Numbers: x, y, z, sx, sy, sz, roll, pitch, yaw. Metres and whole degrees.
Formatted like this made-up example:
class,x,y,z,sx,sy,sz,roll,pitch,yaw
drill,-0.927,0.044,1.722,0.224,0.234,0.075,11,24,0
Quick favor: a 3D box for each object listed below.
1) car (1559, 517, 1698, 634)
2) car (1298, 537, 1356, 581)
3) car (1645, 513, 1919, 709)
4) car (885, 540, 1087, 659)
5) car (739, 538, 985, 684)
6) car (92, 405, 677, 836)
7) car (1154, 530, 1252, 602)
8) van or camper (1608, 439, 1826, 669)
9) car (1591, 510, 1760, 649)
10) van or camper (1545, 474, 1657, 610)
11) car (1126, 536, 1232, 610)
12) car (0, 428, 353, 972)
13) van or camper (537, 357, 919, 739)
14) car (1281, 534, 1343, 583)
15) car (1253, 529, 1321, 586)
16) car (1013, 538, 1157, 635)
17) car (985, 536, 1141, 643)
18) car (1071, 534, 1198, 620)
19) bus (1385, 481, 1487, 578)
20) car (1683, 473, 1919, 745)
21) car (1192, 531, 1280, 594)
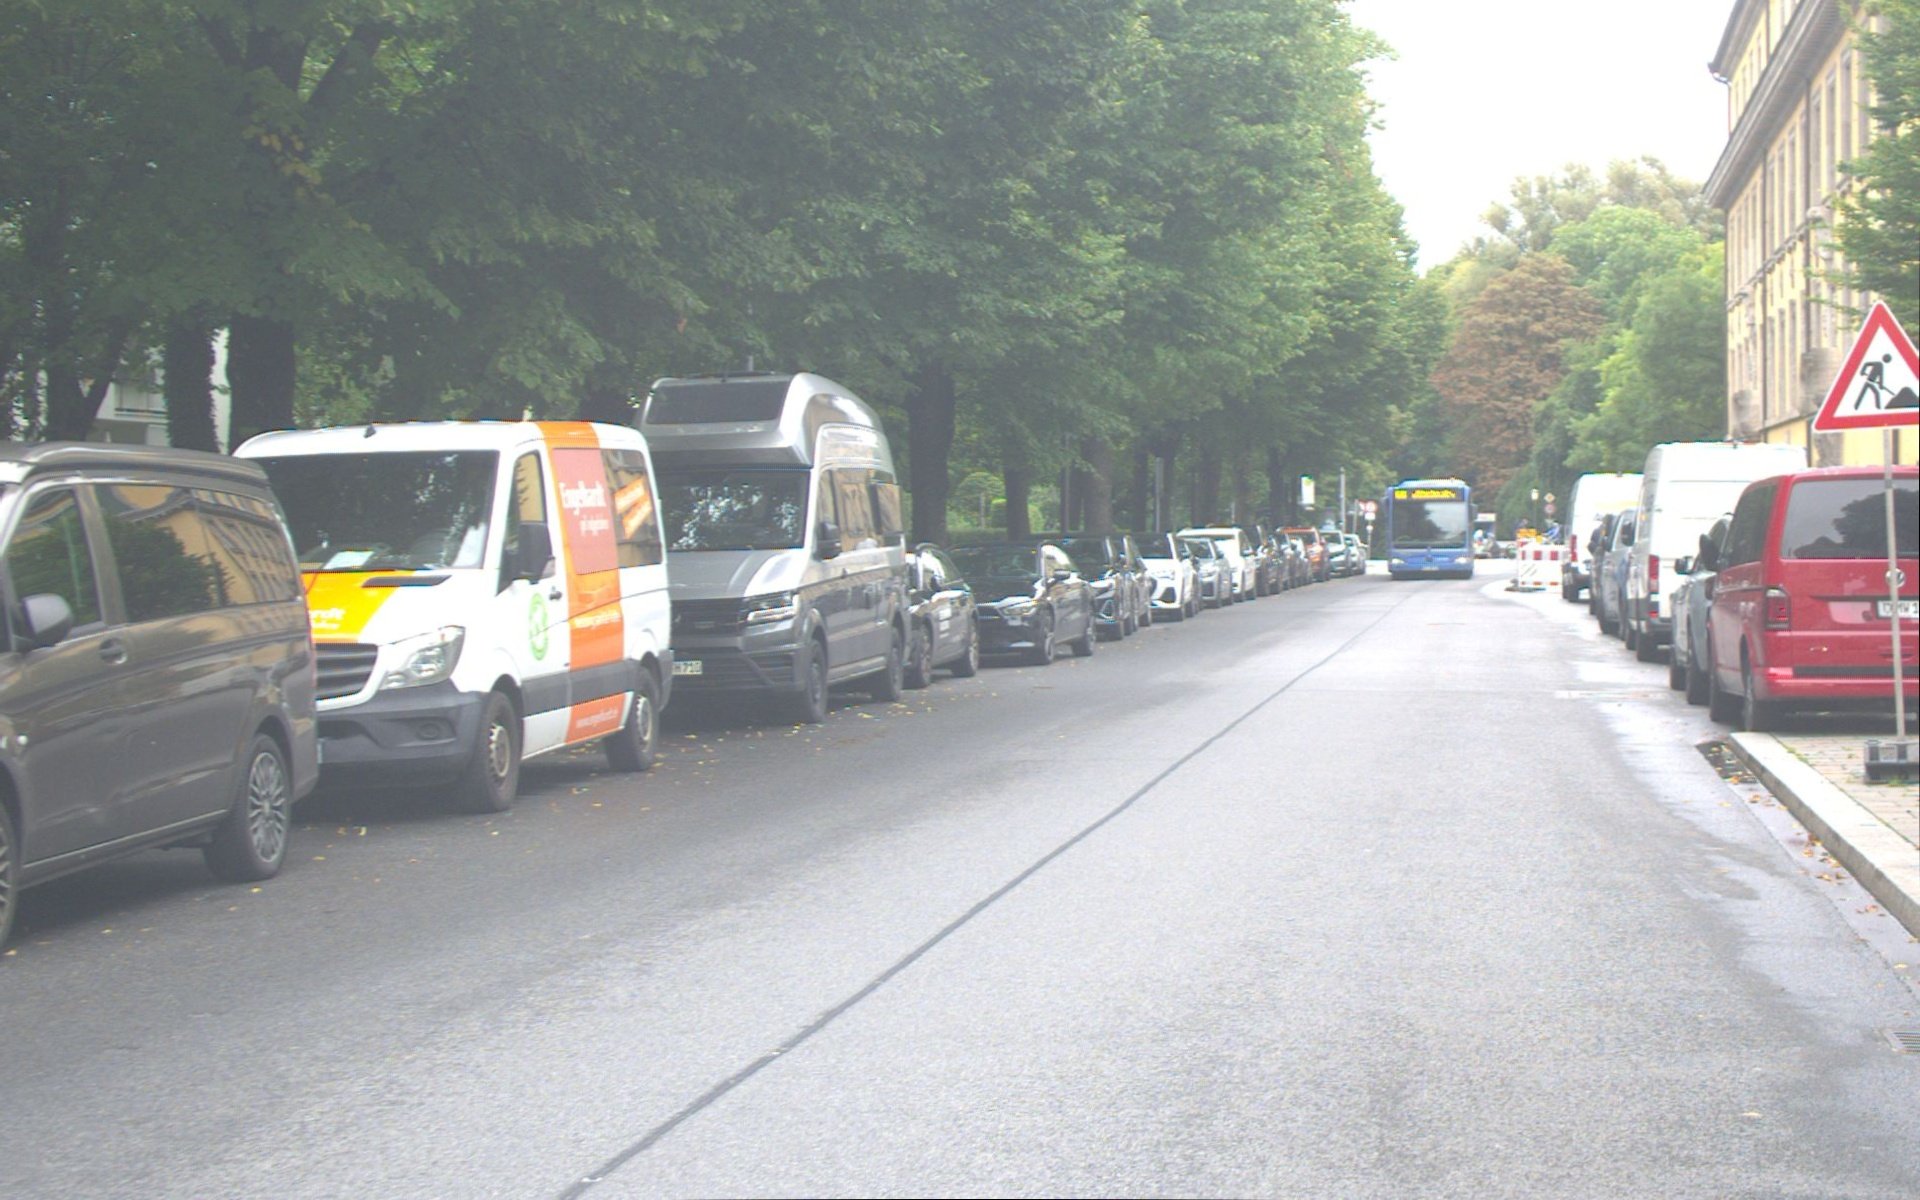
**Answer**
class,x,y,z,sx,sy,sz,roll,pitch,yaw
car,11.086,-0.436,57.226,1.991,1.838,4.321,-1,1,8
car,12.753,-1.429,119.343,1.853,1.468,3.999,0,1,8
car,7.344,0.053,30.989,1.991,1.603,4.321,-1,1,8
car,0.362,-0.038,41.070,1.875,1.343,3.999,0,1,8
car,-0.952,0.070,35.662,1.875,1.412,3.999,0,1,8
car,-3.292,0.067,20.915,1.947,2.265,5.241,-1,1,8
car,5.417,-0.775,76.222,1.853,1.558,3.999,0,1,8
van or camper,8.995,-0.566,41.231,2.132,2.537,5.241,-1,1,8
car,10.010,-0.315,48.361,1.991,1.838,4.321,-1,1,8
van or camper,13.554,-1.239,72.910,2.116,2.723,5.241,-1,1,9
car,4.522,-0.575,70.583,1.853,1.468,3.999,0,1,8
car,-4.157,0.338,13.985,1.888,1.926,5.207,-1,1,6
van or camper,-1.851,-0.455,29.738,2.001,2.935,6.009,-1,1,8
car,11.628,-1.383,113.439,1.853,1.566,3.999,0,1,8
car,9.996,-1.299,104.864,1.853,1.695,3.999,0,1,8
car,2.031,-0.243,54.724,1.853,1.468,3.999,0,1,8
car,1.532,-0.178,49.634,1.853,1.468,3.999,0,1,7
car,3.110,-0.427,60.573,1.853,1.468,3.999,0,1,8
bus,15.342,-2.248,110.034,2.714,2.889,14.548,0,1,10
car,6.626,0.010,25.775,1.991,1.832,4.712,-1,1,8
car,6.677,-0.926,82.955,1.853,1.468,3.999,0,1,8
